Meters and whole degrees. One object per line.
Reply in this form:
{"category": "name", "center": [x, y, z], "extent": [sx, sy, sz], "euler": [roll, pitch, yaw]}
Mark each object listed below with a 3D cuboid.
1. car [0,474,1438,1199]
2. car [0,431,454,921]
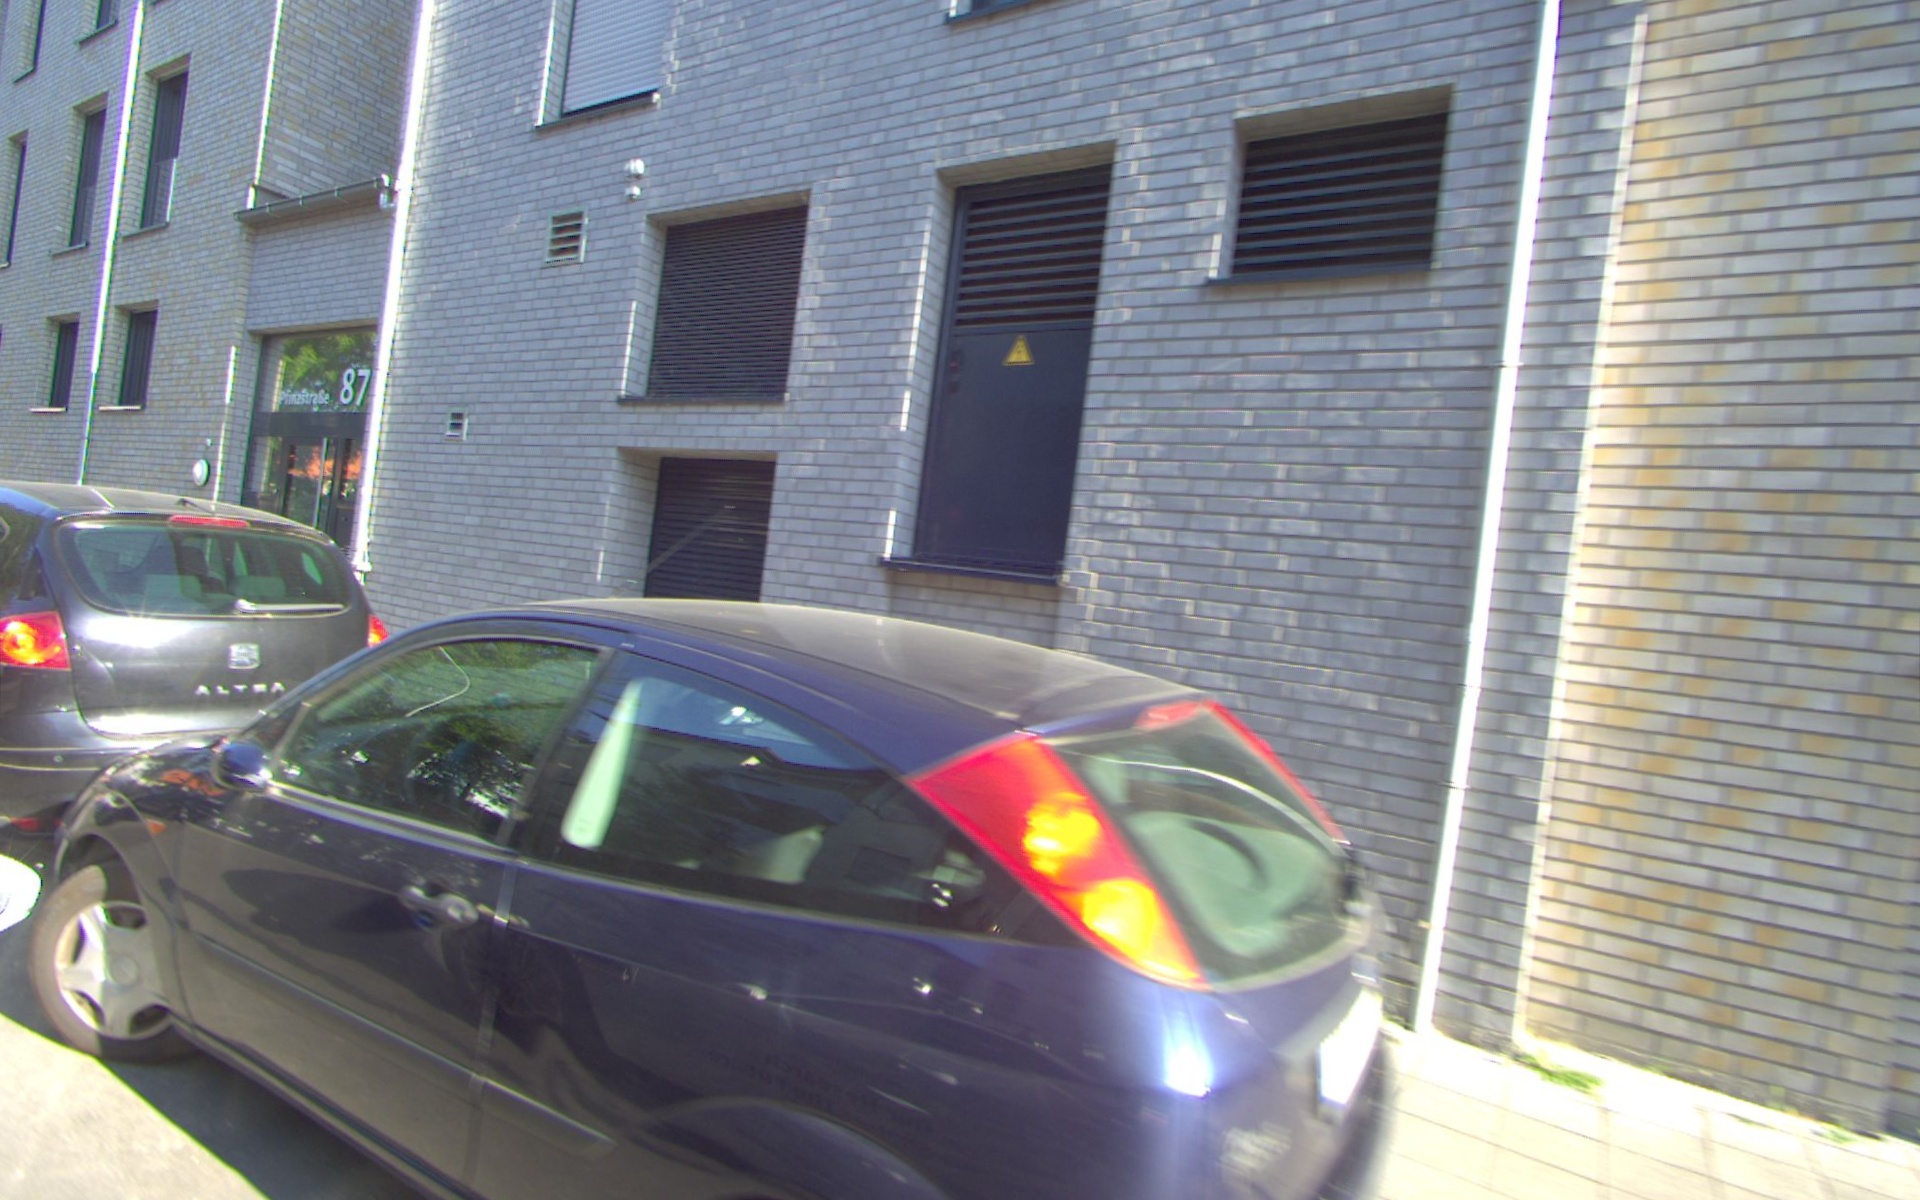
{"category": "car", "center": [-0.999, 0.627, 2.852], "extent": [4.001, 1.607, 1.631], "euler": [6, 1, 31]}
{"category": "car", "center": [-4.618, 0.170, 5.167], "extent": [3.849, 1.722, 1.668], "euler": [7, -2, 32]}
